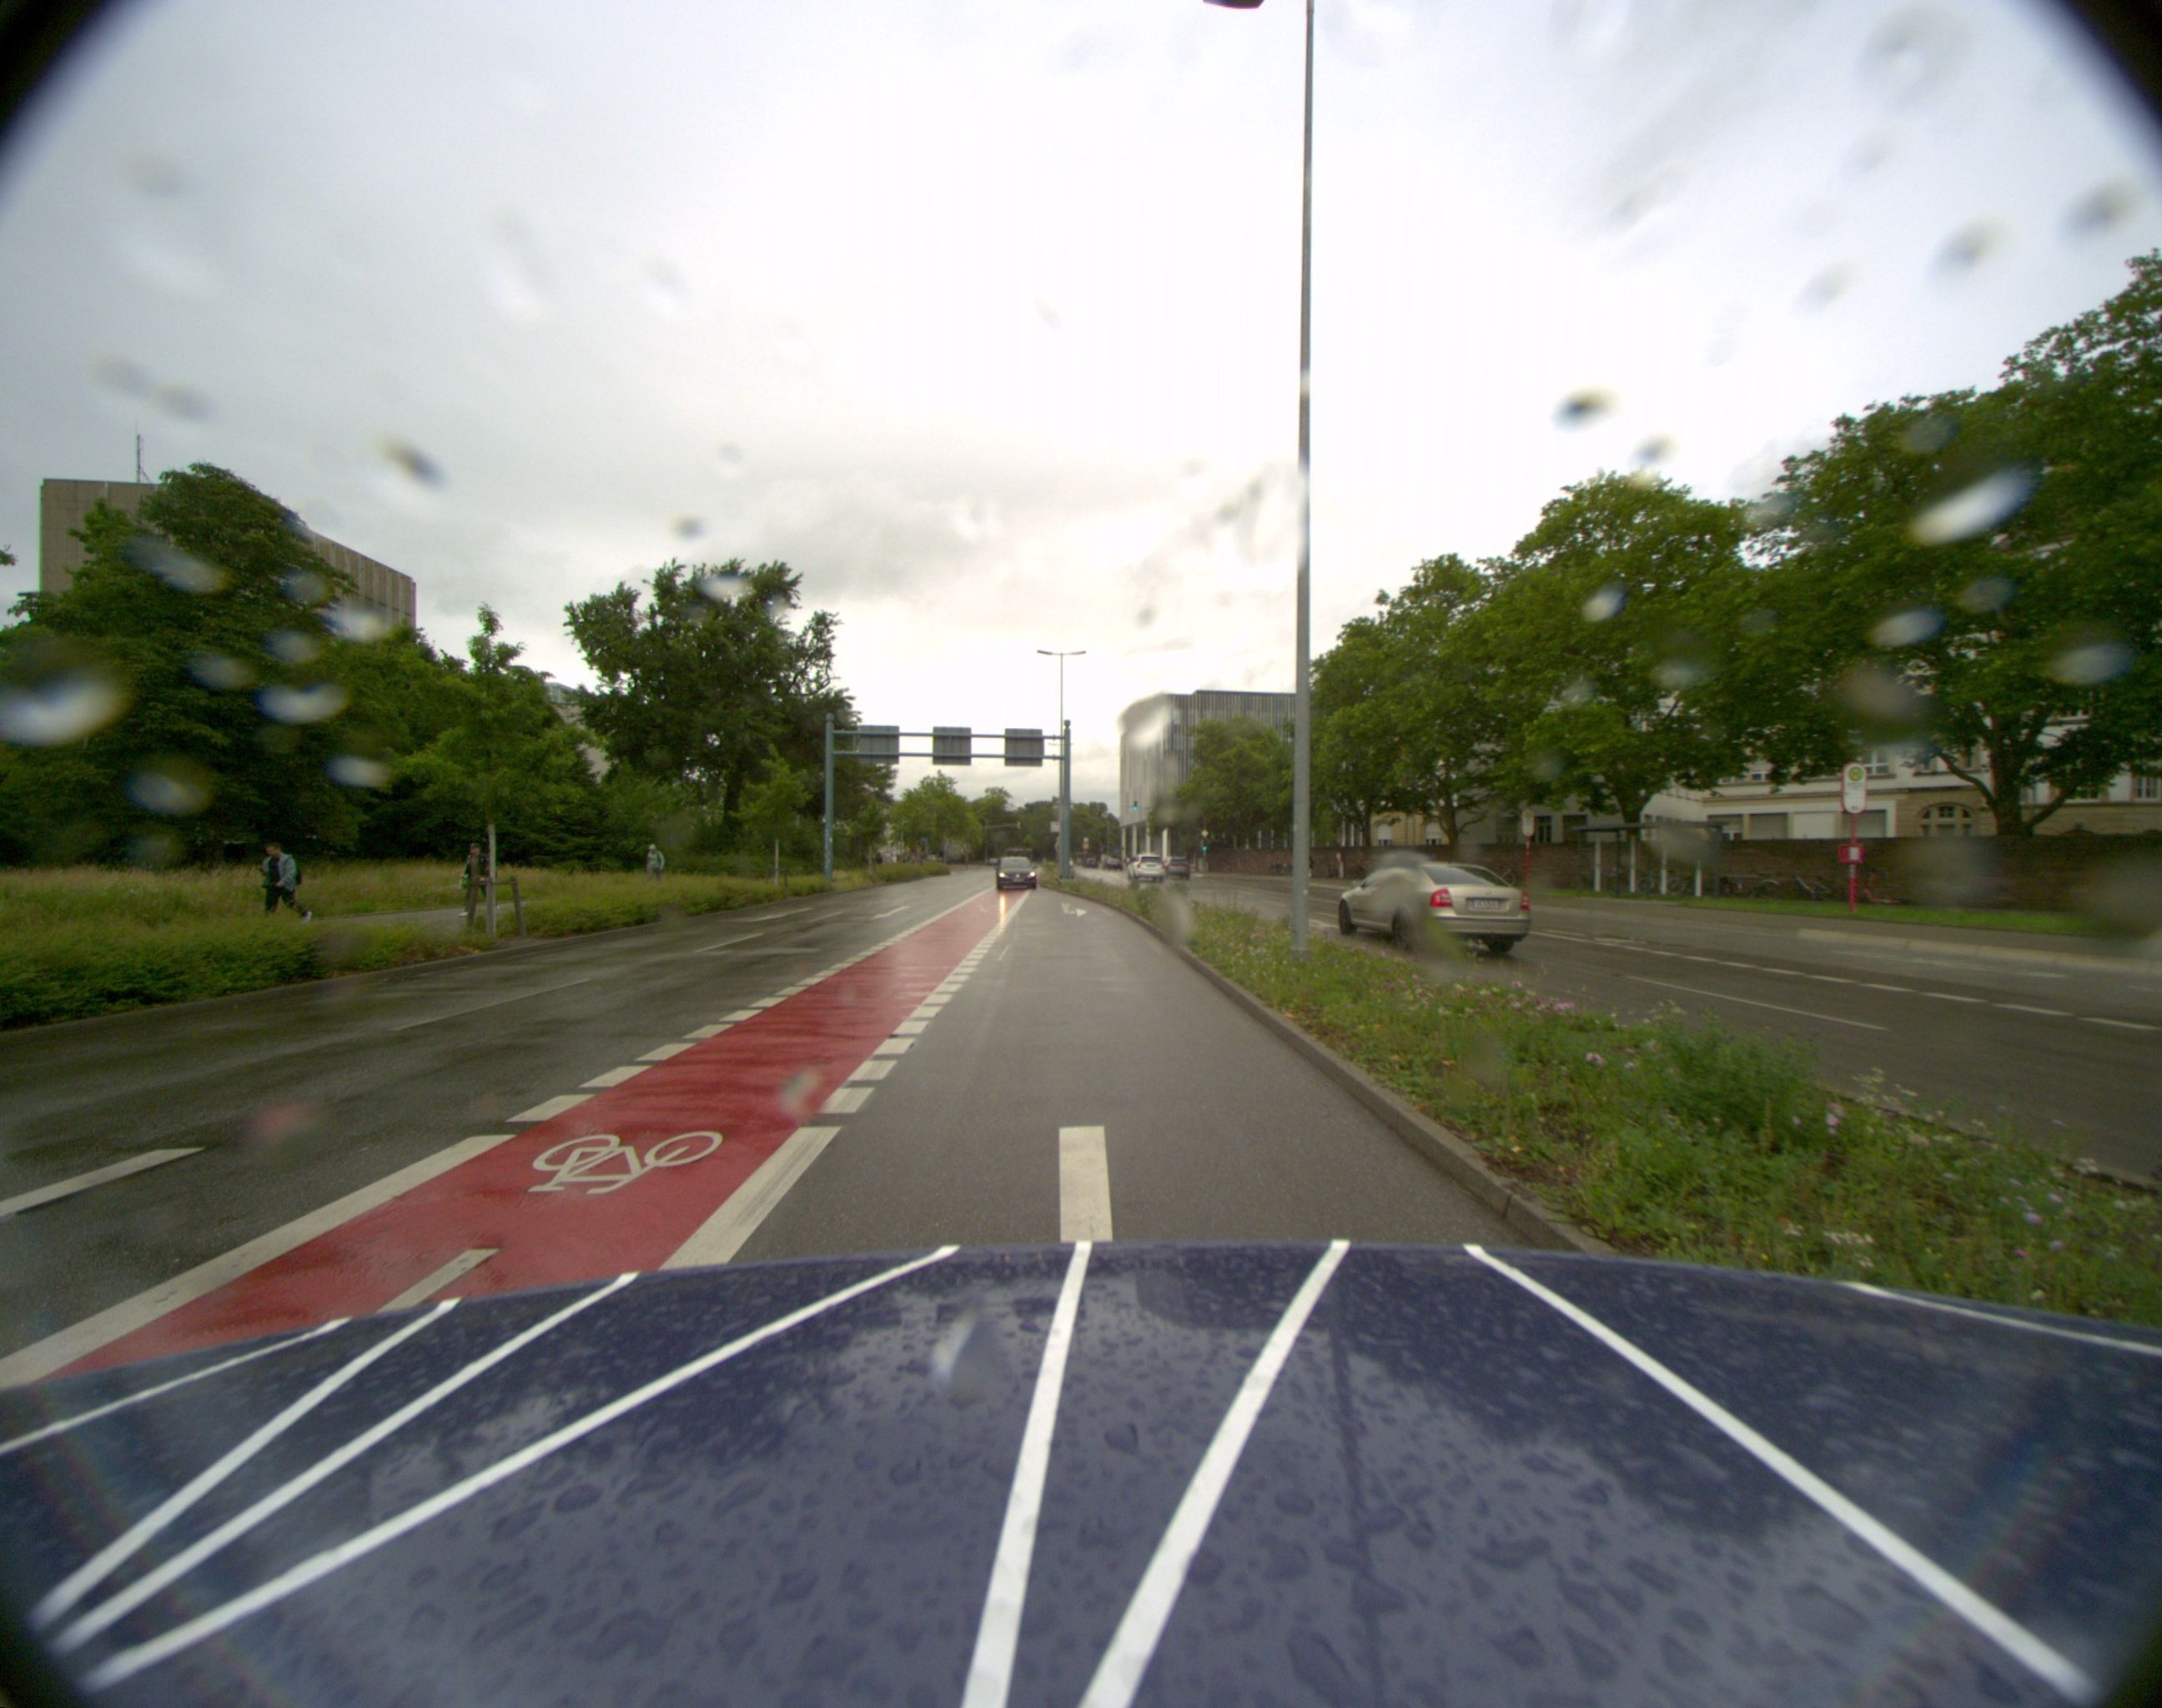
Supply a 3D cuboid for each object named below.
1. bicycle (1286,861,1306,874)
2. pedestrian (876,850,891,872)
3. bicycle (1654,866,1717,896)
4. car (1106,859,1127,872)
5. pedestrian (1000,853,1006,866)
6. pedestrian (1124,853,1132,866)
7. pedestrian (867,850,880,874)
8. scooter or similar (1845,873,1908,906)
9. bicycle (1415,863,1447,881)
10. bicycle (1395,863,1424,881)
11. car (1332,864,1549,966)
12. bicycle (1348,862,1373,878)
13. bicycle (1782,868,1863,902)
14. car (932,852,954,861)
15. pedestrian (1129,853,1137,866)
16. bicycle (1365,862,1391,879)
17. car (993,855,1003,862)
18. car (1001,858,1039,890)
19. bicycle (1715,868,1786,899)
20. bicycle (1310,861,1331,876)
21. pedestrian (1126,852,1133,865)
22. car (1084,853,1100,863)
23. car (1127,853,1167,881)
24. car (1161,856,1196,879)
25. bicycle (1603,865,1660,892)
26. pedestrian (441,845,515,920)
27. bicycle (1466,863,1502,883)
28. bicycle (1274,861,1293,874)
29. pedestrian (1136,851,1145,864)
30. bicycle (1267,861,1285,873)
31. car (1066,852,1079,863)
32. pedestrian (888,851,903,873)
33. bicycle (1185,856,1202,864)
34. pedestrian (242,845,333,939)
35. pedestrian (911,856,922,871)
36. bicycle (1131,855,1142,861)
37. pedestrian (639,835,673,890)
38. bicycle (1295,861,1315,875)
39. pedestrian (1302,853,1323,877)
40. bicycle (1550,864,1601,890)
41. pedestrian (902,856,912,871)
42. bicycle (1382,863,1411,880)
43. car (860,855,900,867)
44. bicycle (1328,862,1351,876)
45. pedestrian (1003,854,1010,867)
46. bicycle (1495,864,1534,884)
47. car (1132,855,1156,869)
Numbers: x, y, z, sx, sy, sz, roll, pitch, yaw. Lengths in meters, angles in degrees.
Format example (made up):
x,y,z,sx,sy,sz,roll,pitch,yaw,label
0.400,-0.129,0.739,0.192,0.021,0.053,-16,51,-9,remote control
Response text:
x,y,z,sx,sy,sz,roll,pitch,yaw,label
16.628,1.038,58.695,0.734,0.977,1.699,0,0,-14,bicycle
-15.155,0.555,58.330,0.935,1.693,0.829,-1,-2,2,pedestrian
24.570,1.072,30.924,0.575,1.129,1.988,0,0,-19,bicycle
4.515,1.396,97.062,1.814,1.531,4.699,2,0,-7,car
-10.608,0.724,103.919,0.787,1.814,0.624,0,0,-8,pedestrian
6.541,0.720,104.819,0.788,1.813,0.794,0,0,-26,pedestrian
-16.190,0.595,59.285,0.731,1.848,0.851,0,0,4,pedestrian
26.761,1.168,25.585,0.574,1.040,1.360,0,0,-19,scooter or similar
19.757,0.983,42.889,0.734,0.977,1.699,0,0,-14,bicycle
19.550,1.056,45.236,0.734,0.977,1.699,0,0,-14,bicycle
5.896,0.913,13.097,1.698,1.407,4.182,0,0,-1,car
18.339,1.039,49.917,0.734,0.977,1.699,0,0,-14,bicycle
26.250,1.078,26.939,0.575,1.129,1.988,0,0,-19,bicycle
-28.388,0.445,155.988,4.428,1.862,1.636,0,0,-11,car
7.272,0.726,106.223,0.788,1.813,0.794,0,0,-26,pedestrian
18.839,1.039,48.239,0.734,0.977,1.699,0,0,-14,bicycle
-15.655,0.870,143.135,1.661,1.259,4.105,0,0,-4,car
-2.851,0.887,35.427,1.661,1.356,4.105,0,0,-4,car
25.305,1.092,28.771,0.575,1.129,1.988,0,0,-19,bicycle
17.235,1.037,54.713,0.734,0.977,1.699,0,0,-14,bicycle
6.945,0.623,108.025,0.788,1.814,0.623,0,1,-26,pedestrian
1.649,0.596,113.360,1.629,1.407,4.063,2,0,-9,car
4.298,0.840,50.208,1.831,1.672,5.163,2,0,-4,car
7.271,0.976,57.115,1.998,1.626,4.602,2,0,0,car
23.731,1.045,32.817,0.575,1.129,1.987,0,0,-22,bicycle
-14.464,0.665,18.249,0.935,1.737,1.046,0,0,4,pedestrian
21.217,0.985,40.028,0.734,0.977,1.699,0,0,-14,bicycle
16.093,1.036,60.345,0.734,0.977,1.699,0,0,-14,bicycle
8.442,0.516,107.546,0.941,1.813,0.921,0,0,-26,pedestrian
15.970,1.038,62.365,0.734,0.977,1.699,0,0,-14,bicycle
-1.282,0.539,113.967,1.684,1.493,3.866,1,0,-6,car
-14.224,0.618,58.221,0.935,1.710,0.829,-1,-2,2,pedestrian
16.125,0.868,108.754,2.287,1.215,0.598,0,0,-15,bicycle
-15.634,0.731,14.988,0.935,1.786,0.829,0,0,4,pedestrian
-17.165,0.994,79.233,0.878,1.598,0.862,0,0,-25,pedestrian
11.498,0.750,156.722,2.283,1.215,0.599,0,0,6,bicycle
-15.762,0.304,28.184,0.792,2.002,0.829,0,0,4,pedestrian
16.650,1.035,56.512,0.733,0.977,1.863,0,0,-9,bicycle
16.324,0.762,53.648,0.871,1.686,1.399,0,0,-9,pedestrian
22.781,1.040,35.036,0.575,1.129,1.987,0,0,-22,bicycle
-18.022,0.987,78.852,0.878,1.598,0.862,0,0,-22,pedestrian
19.320,1.056,46.570,0.734,0.977,1.699,0,0,-14,bicycle
-24.365,0.802,92.211,4.389,1.330,1.771,0,3,-6,car
17.887,1.039,52.645,0.734,0.977,1.699,0,0,-14,bicycle
-10.301,0.915,105.135,0.787,1.814,0.624,0,0,-11,pedestrian
21.668,0.990,37.992,0.734,0.977,1.699,0,0,-14,bicycle
6.354,0.779,76.682,1.684,1.396,4.156,1,0,-5,car
